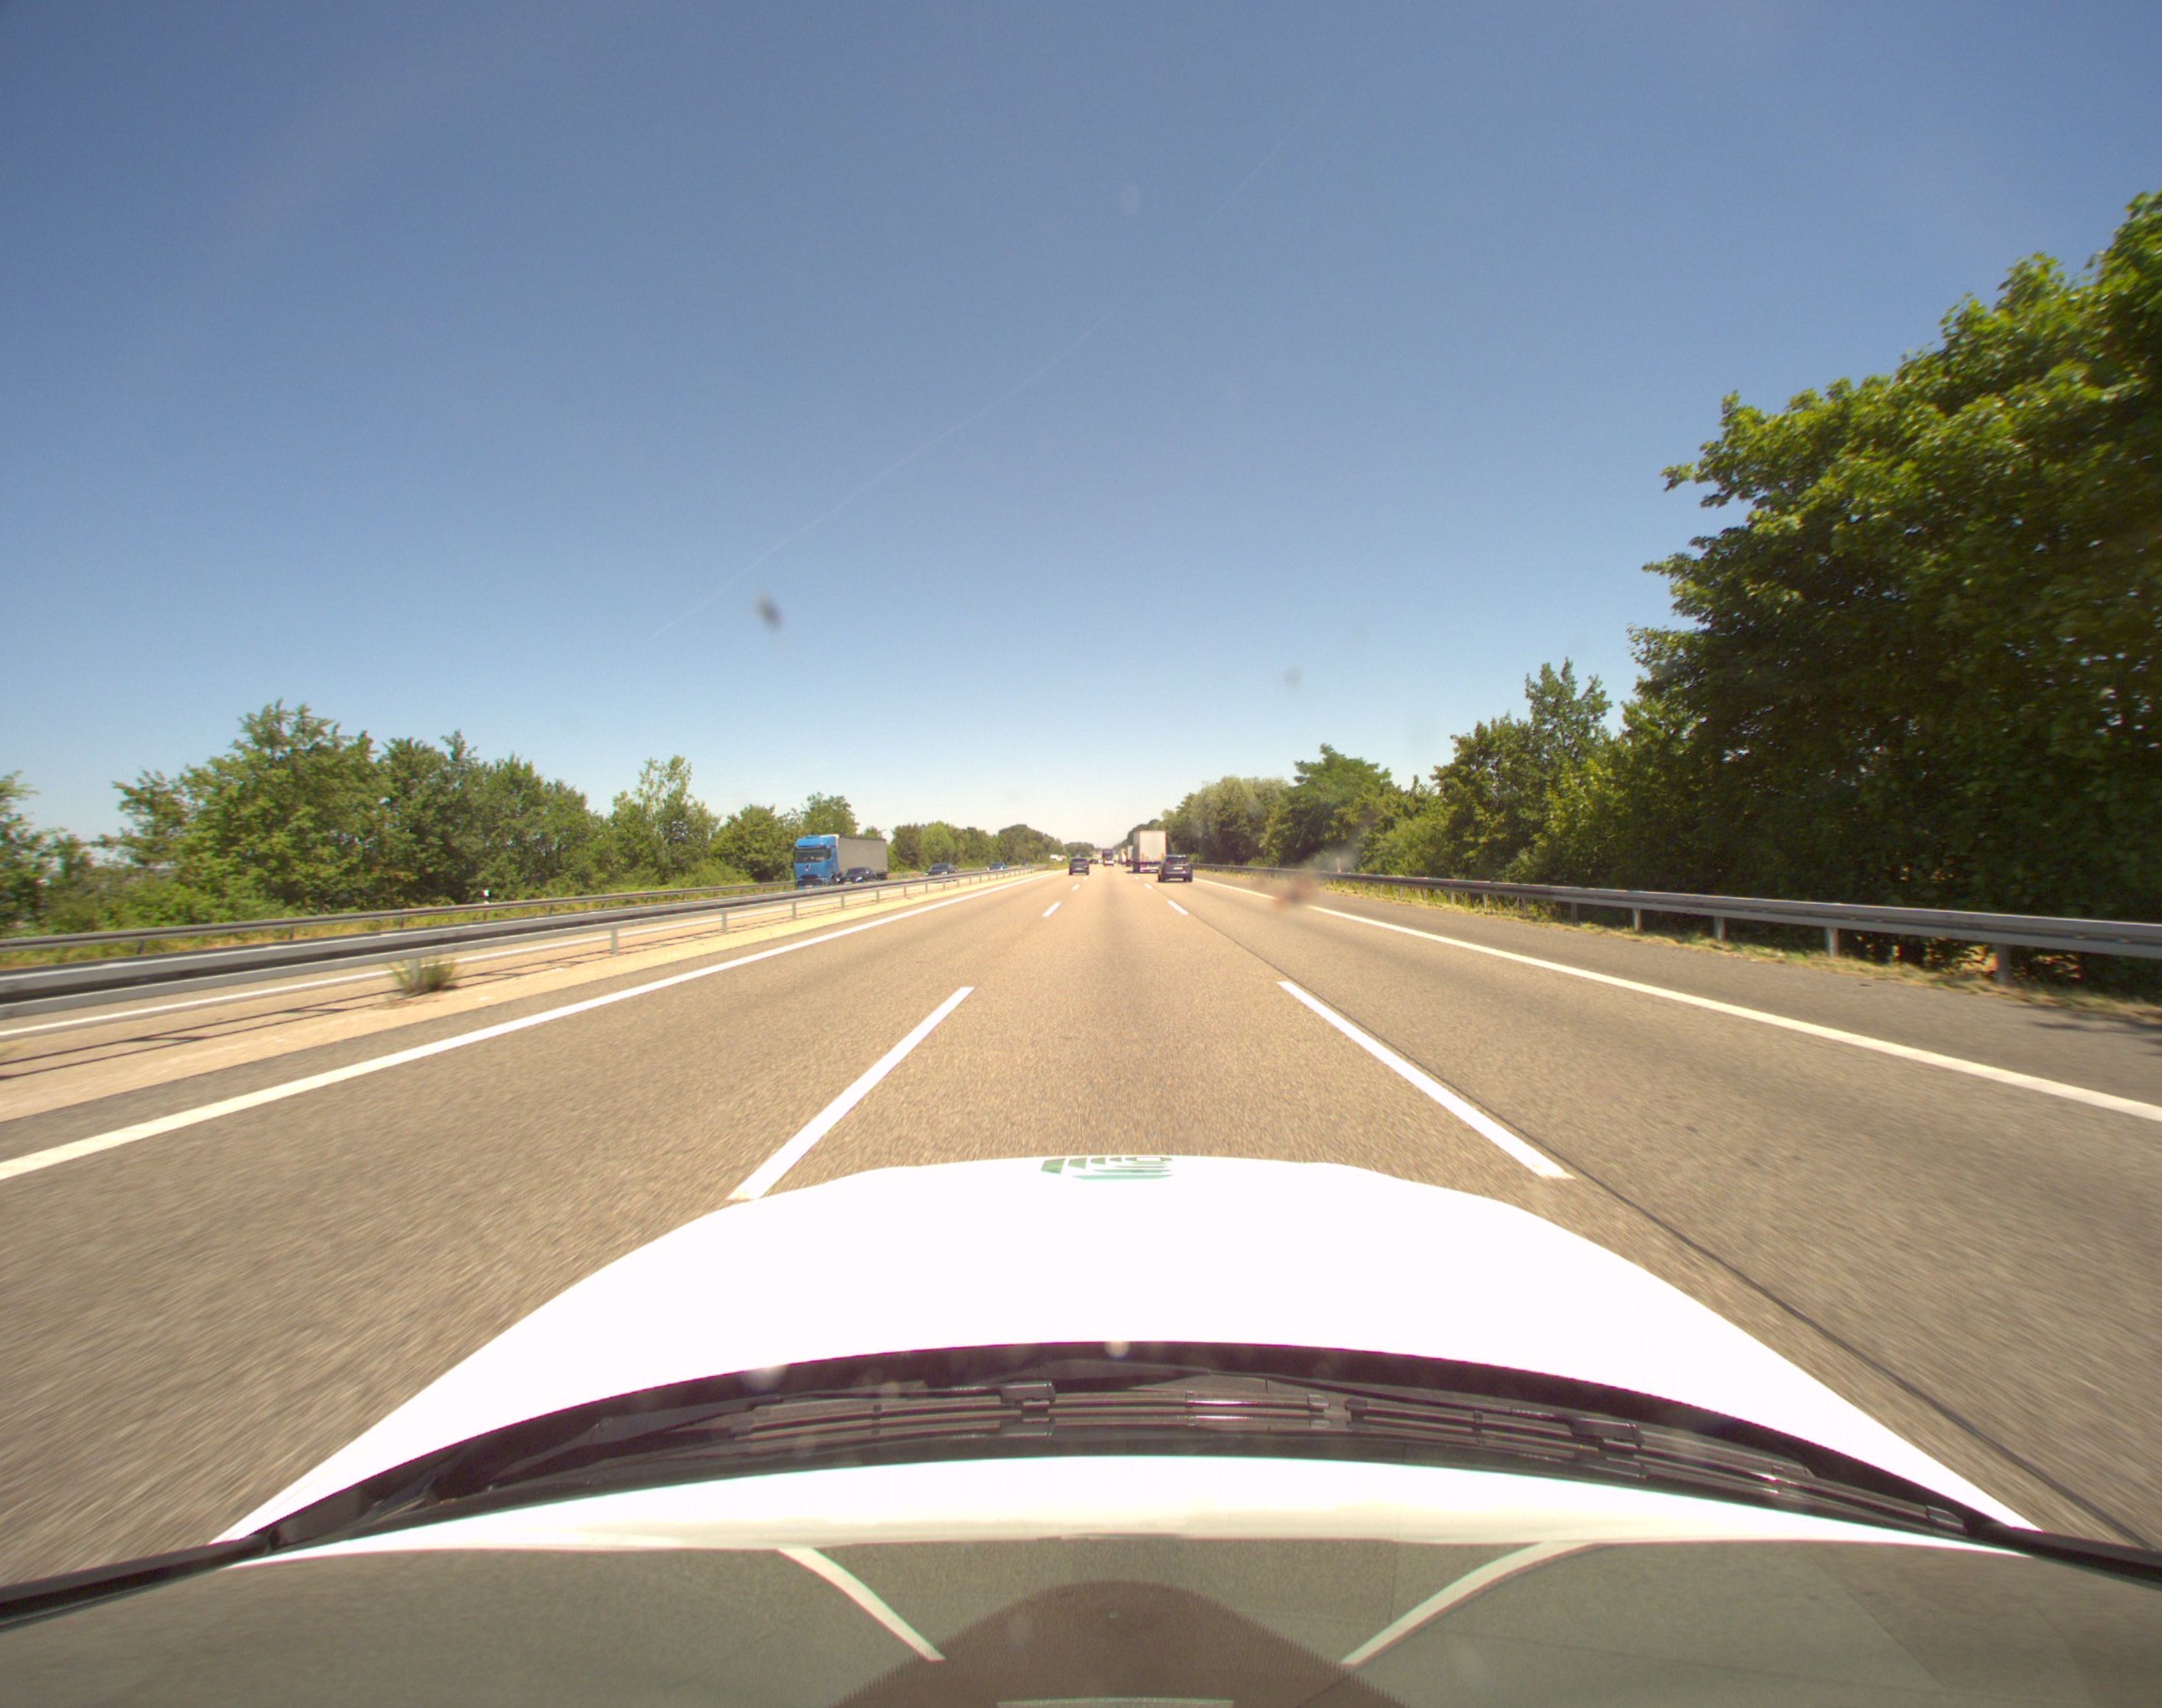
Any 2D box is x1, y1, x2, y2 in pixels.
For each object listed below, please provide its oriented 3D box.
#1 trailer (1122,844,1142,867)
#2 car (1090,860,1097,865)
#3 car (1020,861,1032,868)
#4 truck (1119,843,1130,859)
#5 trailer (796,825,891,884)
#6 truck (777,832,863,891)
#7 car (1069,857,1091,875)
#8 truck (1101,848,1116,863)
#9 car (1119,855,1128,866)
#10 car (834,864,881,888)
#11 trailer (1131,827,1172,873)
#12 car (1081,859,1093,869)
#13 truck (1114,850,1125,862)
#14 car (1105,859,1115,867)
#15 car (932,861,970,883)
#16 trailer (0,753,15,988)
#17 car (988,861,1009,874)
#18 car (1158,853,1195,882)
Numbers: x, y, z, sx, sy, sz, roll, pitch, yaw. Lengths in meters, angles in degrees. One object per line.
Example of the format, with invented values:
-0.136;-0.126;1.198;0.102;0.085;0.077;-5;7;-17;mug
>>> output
8.785;0.240;141.236;3.111;3.926;9.938;0;0;1;trailer
3.405;2.350;228.197;1.900;1.531;4.287;0;1;2;car
-11.639;2.223;172.418;1.856;1.401;4.533;-3;0;1;car
10.879;-0.784;204.579;2.781;3.725;7.114;0;0;3;truck
-19.085;-0.016;66.791;3.285;4.186;13.545;-2;0;1;trailer
-19.202;0.492;60.700;3.239;3.986;8.731;-1;0;2;truck
-0.060;1.051;73.323;1.752;1.531;4.287;0;1;2;car
7.116;0.290;210.503;3.652;3.725;7.114;0;0;3;truck
9.473;1.433;182.993;1.900;2.425;4.287;0;0;2;car
-15.030;1.440;54.926;1.843;1.463;4.315;2;0;1;car
6.843;-0.339;81.067;3.421;4.181;13.639;0;0;2;trailer
1.039;1.658;135.861;1.893;1.531;4.086;0;1;2;car
12.115;0.682;257.873;3.474;3.725;7.114;0;0;3;truck
5.410;1.667;153.051;1.893;1.531;4.086;0;1;2;car
-10.062;1.360;63.393;1.843;1.463;5.171;-4;-1;1;car
-21.071;0.404;7.866;3.337;4.186;13.545;-2;0;1;trailer
-9.483;1.517;93.978;1.843;1.395;4.743;-4;-1;1;car
5.669;0.767;48.882;1.838;1.629;4.137;-2;0;2;car
